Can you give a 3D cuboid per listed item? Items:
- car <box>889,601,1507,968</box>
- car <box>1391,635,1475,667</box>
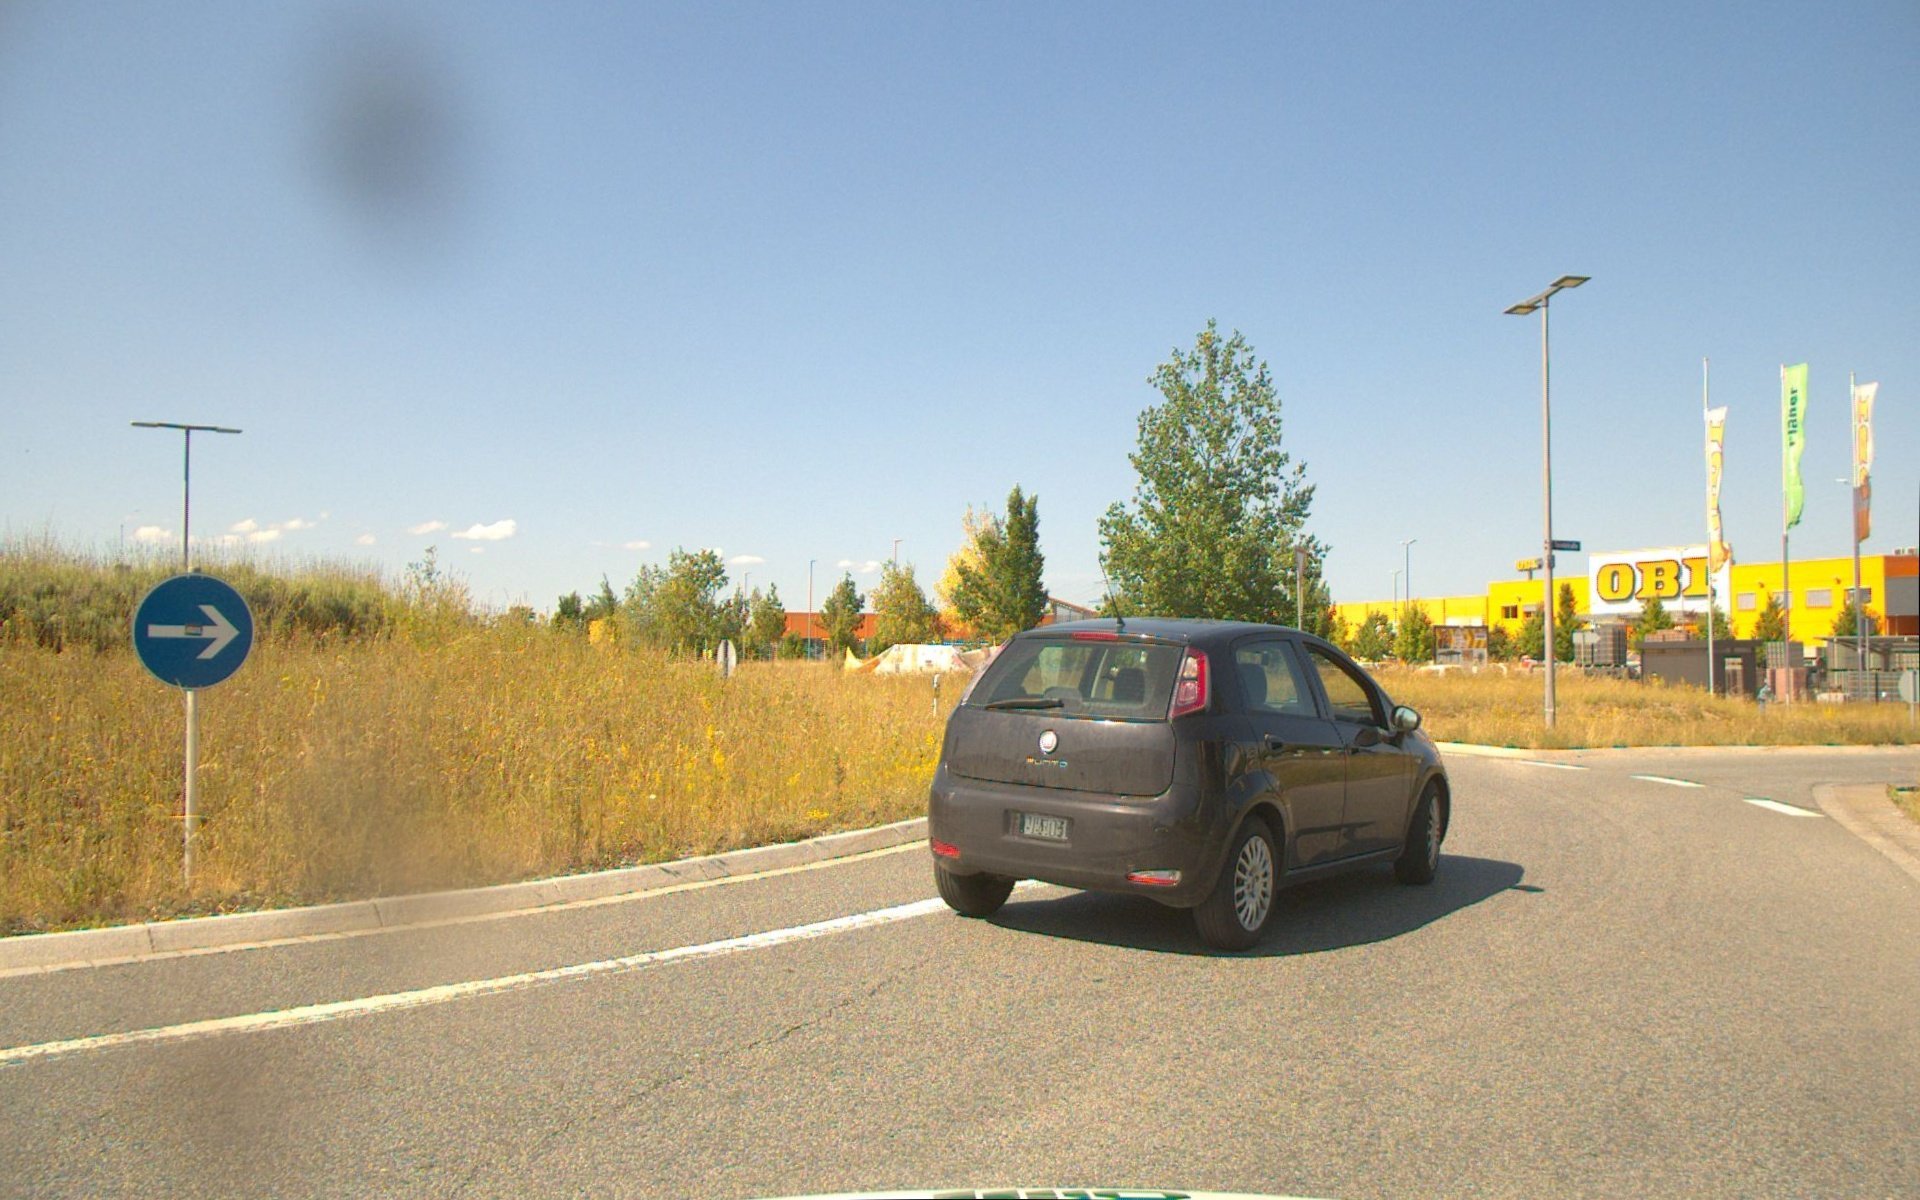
[{"bbox_3d":[1.477,0.813,8.879,1.613,1.514,3.887,0,-2,37],"label":"car"},{"bbox_3d":[24.958,2.721,87.385,1.975,1.646,3.953,1,-3,-33],"label":"car"}]
